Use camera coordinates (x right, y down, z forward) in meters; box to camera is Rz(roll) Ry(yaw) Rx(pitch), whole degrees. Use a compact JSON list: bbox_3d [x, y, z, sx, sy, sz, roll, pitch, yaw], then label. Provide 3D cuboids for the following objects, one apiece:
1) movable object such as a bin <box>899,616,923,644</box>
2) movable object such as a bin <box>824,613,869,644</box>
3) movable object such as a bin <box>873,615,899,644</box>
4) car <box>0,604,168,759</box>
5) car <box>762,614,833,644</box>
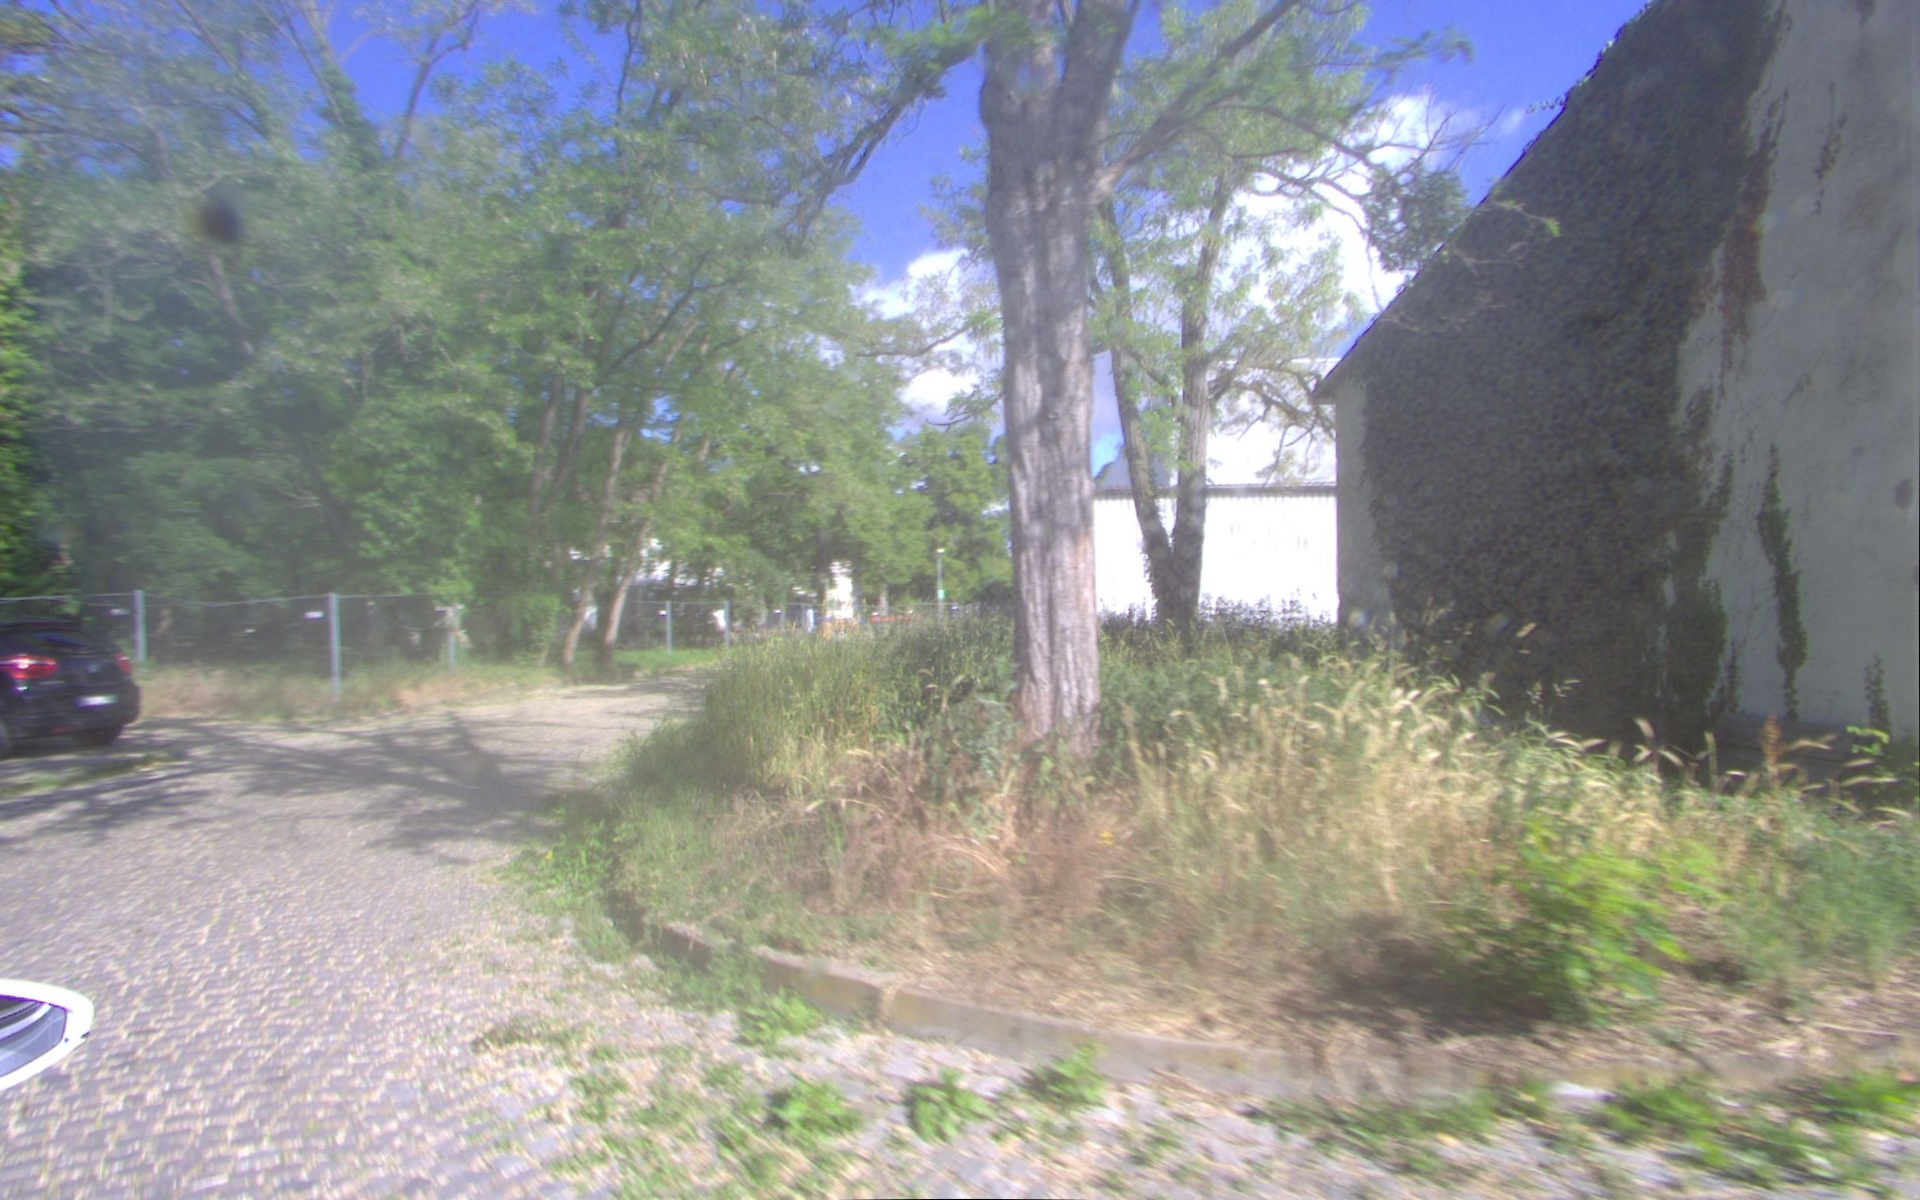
[{"bbox_3d":[-2.578,1.561,52.591,1.224,1.463,0.703,0,0,-2],"label":"movable object such as a bin"},{"bbox_3d":[-5.950,1.502,52.633,2.251,1.612,1.174,0,0,-2],"label":"movable object such as a bin"},{"bbox_3d":[-3.898,1.547,52.782,1.315,1.503,0.807,0,0,-2],"label":"movable object such as a bin"},{"bbox_3d":[-12.288,0.874,11.879,4.217,1.673,1.793,2,-1,-4],"label":"car"},{"bbox_3d":[-11.376,2.029,70.241,4.633,1.926,2.001,-2,-1,0],"label":"car"}]
